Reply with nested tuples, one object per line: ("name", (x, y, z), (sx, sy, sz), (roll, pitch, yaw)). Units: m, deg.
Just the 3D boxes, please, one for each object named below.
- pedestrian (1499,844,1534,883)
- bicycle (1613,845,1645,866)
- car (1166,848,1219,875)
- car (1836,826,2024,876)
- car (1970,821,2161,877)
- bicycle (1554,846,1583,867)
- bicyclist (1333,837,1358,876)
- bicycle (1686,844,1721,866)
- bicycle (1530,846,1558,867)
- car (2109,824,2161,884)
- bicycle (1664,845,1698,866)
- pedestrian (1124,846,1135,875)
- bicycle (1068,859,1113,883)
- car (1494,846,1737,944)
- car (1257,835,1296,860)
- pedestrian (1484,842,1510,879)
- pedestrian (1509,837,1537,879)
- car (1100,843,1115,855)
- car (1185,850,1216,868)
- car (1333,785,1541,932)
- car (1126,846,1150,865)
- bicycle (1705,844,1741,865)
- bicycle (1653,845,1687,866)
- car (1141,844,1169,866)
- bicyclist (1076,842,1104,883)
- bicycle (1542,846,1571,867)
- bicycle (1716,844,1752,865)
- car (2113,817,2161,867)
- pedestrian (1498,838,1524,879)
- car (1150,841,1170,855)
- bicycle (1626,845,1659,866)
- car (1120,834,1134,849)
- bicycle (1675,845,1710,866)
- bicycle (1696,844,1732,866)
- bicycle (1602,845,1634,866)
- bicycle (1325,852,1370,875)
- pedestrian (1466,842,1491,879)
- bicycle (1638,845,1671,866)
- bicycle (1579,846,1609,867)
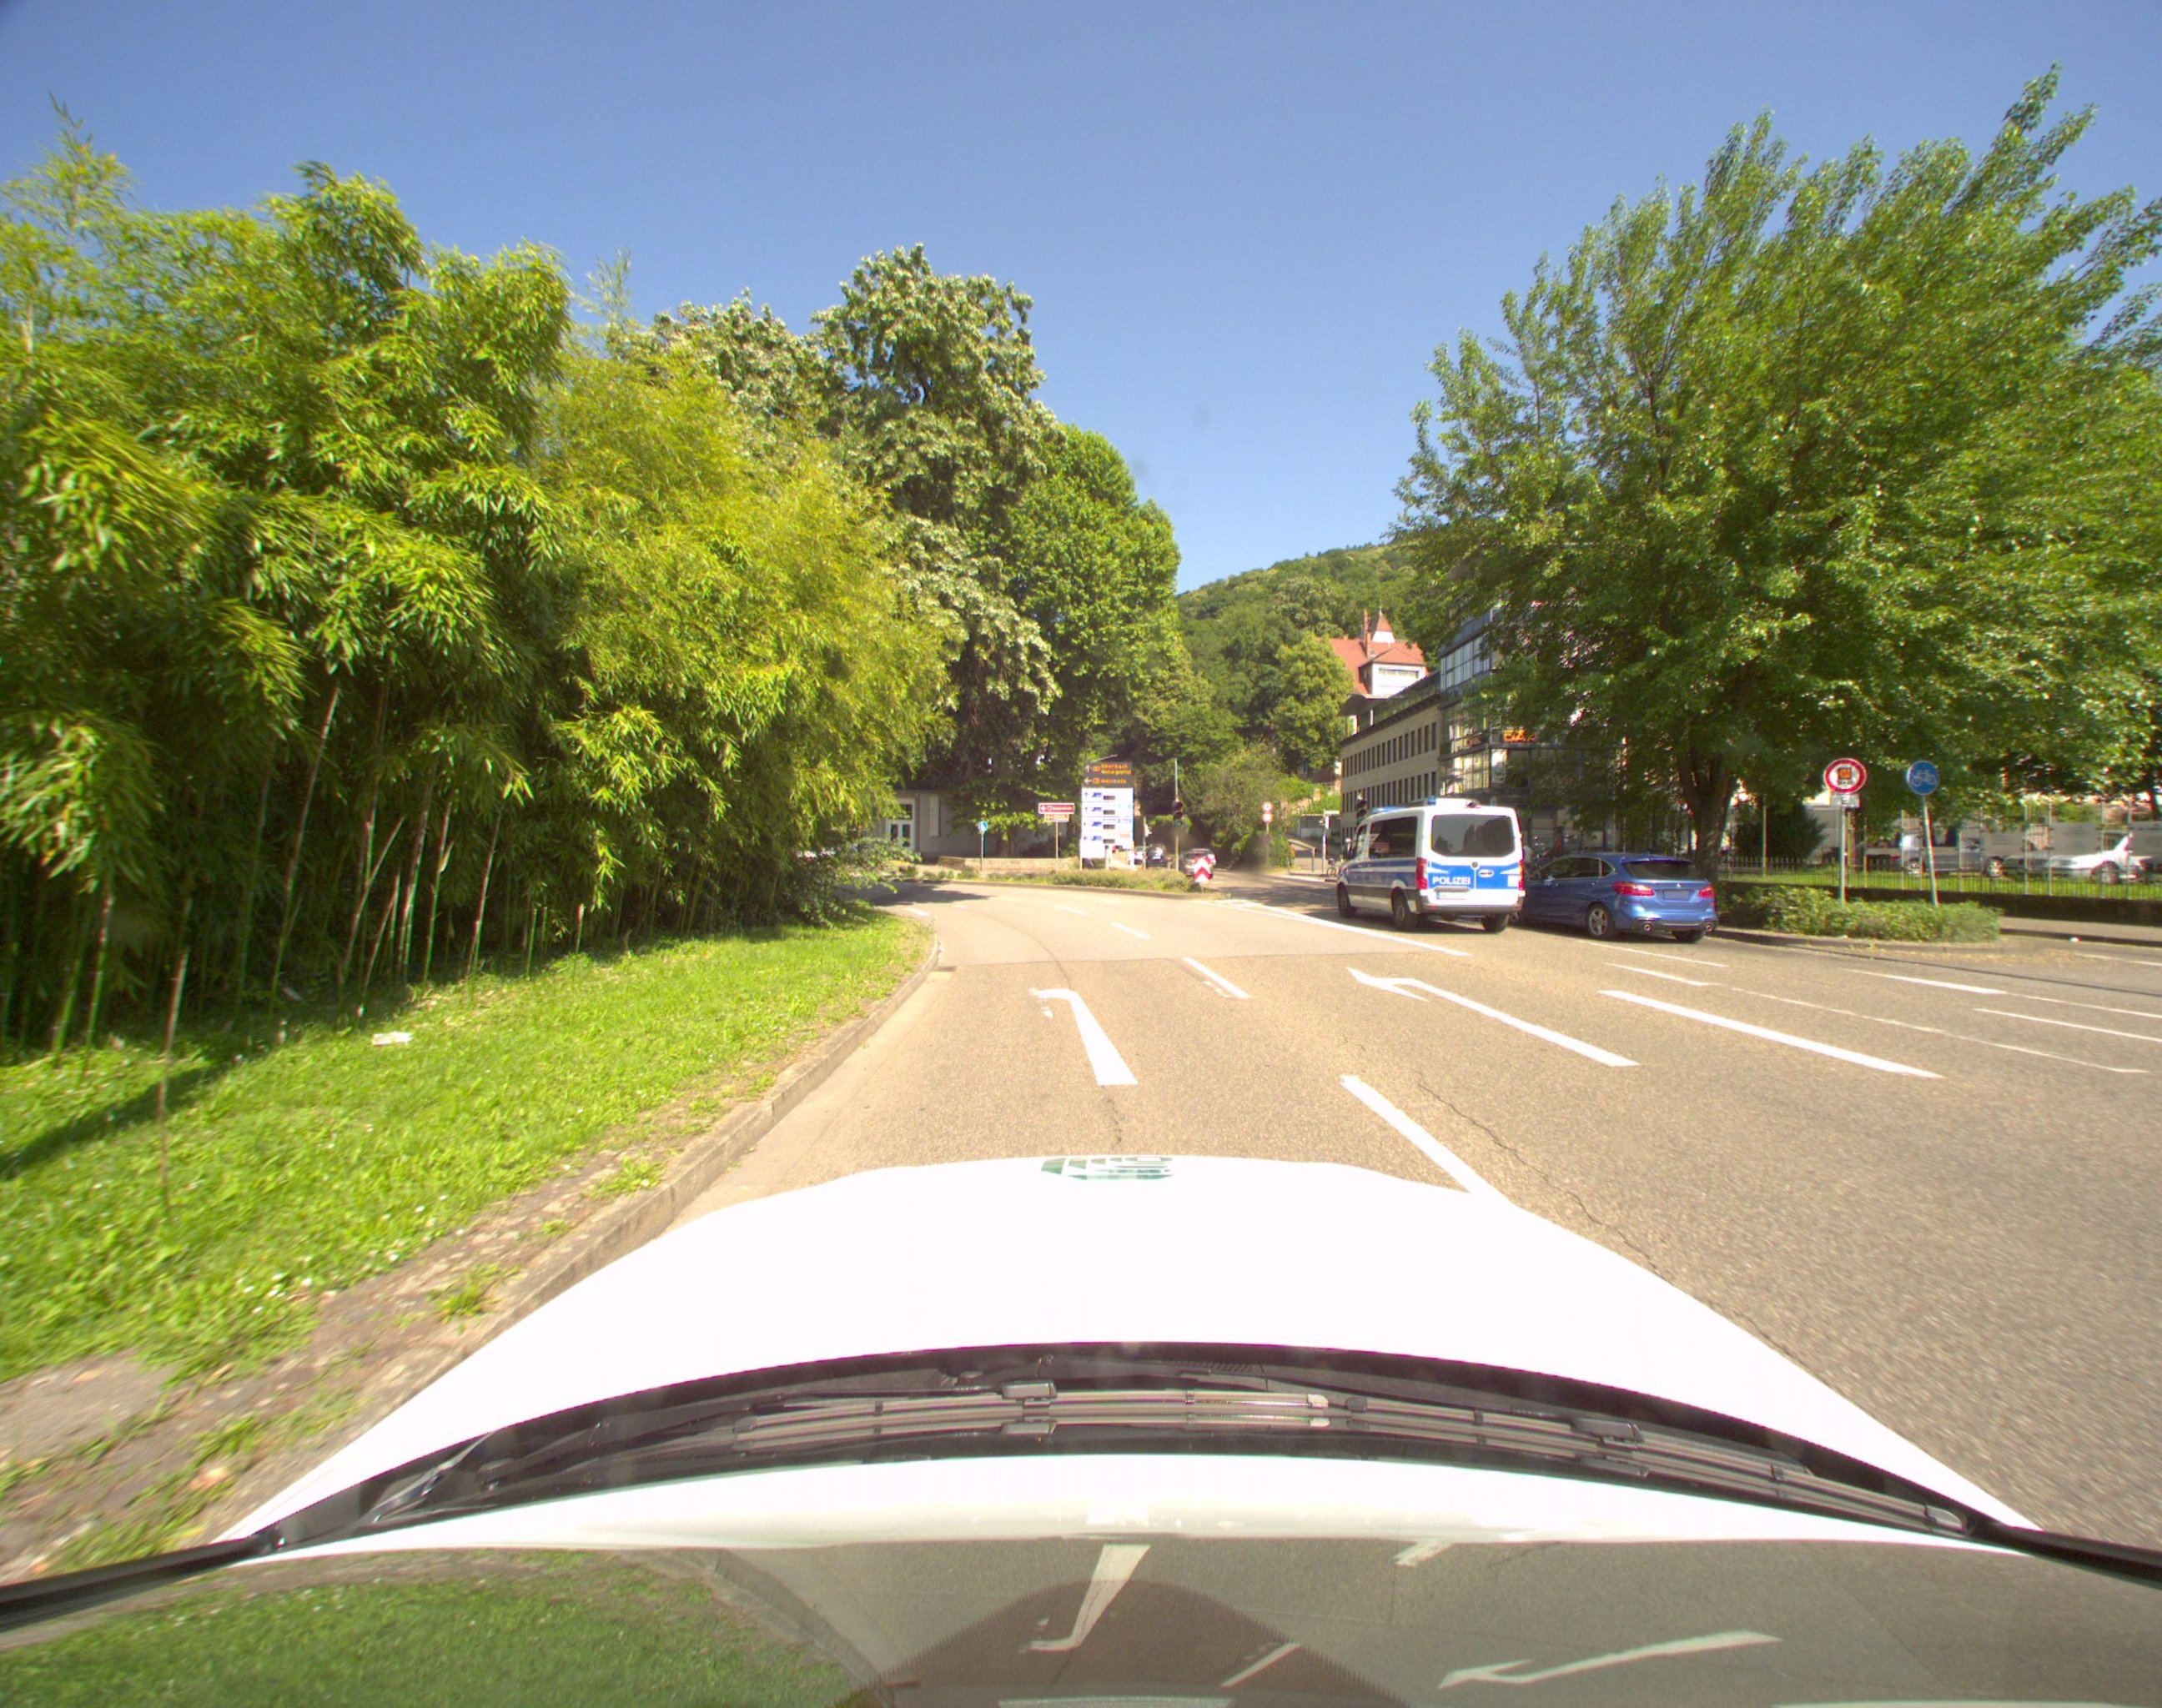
("pedestrian", (17.970, 0.388, 33.628), (1.111, 1.580, 0.744), (-1, 0, 14))
("bicycle", (28.924, 0.083, 43.040), (0.535, 1.085, 1.837), (-1, 1, 3))
("car", (5.817, 0.381, 42.803), (1.755, 1.334, 3.790), (0, 1, -9))
("car", (26.494, -0.108, 25.503), (4.134, 1.475, 1.875), (0, 0, -4))
("car", (25.785, -0.136, 20.734), (4.453, 1.336, 1.821), (0, 0, -1))
("bicycle", (25.815, 0.116, 43.185), (0.535, 1.085, 1.837), (-1, 1, 3))
("bicyclist", (13.164, 0.109, 40.511), (1.118, 1.932, 0.751), (0, 0, 14))
("bicycle", (32.598, 0.044, 42.683), (0.535, 1.085, 1.837), (-1, 1, 3))
("bicycle", (24.582, 0.129, 43.241), (0.535, 1.085, 1.837), (-1, 1, 3))
("car", (26.057, -0.018, 18.172), (4.073, 1.336, 1.821), (0, 0, -1))
("bicycle", (31.404, 0.057, 42.641), (0.535, 1.085, 1.837), (-1, 1, 3))
("pedestrian", (2.687, 0.349, 44.996), (0.543, 1.621, 0.636), (-1, 1, 10))
("bicycle", (0.450, 0.792, 39.310), (2.057, 1.112, 0.761), (0, 0, 26))
("car", (9.836, 0.653, 15.465), (1.714, 1.541, 4.269), (1, 1, -2))
("car", (13.970, -0.444, 58.379), (1.924, 1.697, 4.001), (-1, 0, 1))
("pedestrian", (18.868, 0.284, 36.980), (0.768, 1.662, 0.830), (0, 0, 3))
("pedestrian", (19.644, 0.182, 36.201), (0.768, 1.854, 0.830), (0, 0, 1))
("car", (3.343, -0.672, 103.212), (1.750, 1.461, 3.495), (0, 1, 1))
("car", (8.374, 0.348, 57.173), (1.750, 1.213, 3.495), (0, 1, 1))
("car", (6.907, 0.070, 16.516), (2.067, 2.508, 4.928), (0, 0, 0))
("car", (4.634, 0.095, 66.859), (1.750, 1.461, 3.647), (0, 1, 1))
("bicycle", (33.815, 0.031, 42.912), (0.535, 1.085, 1.837), (-1, 1, 3))
("bicycle", (30.799, 0.064, 42.593), (0.535, 1.085, 1.837), (-1, 1, 3))
("car", (5.147, 0.041, 57.056), (1.750, 1.461, 3.495), (0, 1, 1))
("bicyclist", (0.451, 0.389, 39.316), (1.115, 1.932, 0.752), (0, 0, 26))
("bicycle", (25.222, 0.122, 43.204), (0.535, 1.085, 1.837), (-1, 1, 3))
("bicycle", (34.416, 0.024, 42.956), (0.535, 1.085, 1.837), (-1, 1, 3))
("car", (36.561, -0.406, 26.293), (4.295, 1.603, 1.821), (0, 0, -1))
("pedestrian", (19.559, 0.192, 37.035), (0.768, 1.854, 0.830), (0, 0, 2))
("car", (7.981, -0.626, 82.836), (1.750, 1.461, 3.647), (0, 1, 1))
("bicycle", (29.495, 0.077, 42.826), (0.535, 1.085, 1.837), (-1, 1, 3))
("car", (6.202, -1.640, 109.158), (1.750, 1.938, 3.495), (0, 1, 1))
("bicycle", (31.997, 0.051, 42.655), (0.535, 1.085, 1.837), (-1, 1, 3))
("bicycle", (33.214, 0.038, 42.735), (0.535, 1.085, 1.837), (-1, 1, 3))
("bicycle", (28.344, 0.089, 43.016), (0.535, 1.085, 1.837), (-1, 1, 3))
("bicycle", (13.240, 0.461, 40.498), (2.062, 1.112, 0.759), (0, 0, 13))
("pedestrian", (18.065, 0.294, 37.034), (0.768, 1.662, 0.830), (0, 0, 2))
("bicycle", (30.139, 0.070, 42.808), (0.535, 1.085, 1.837), (-1, 1, 3))
("bicycle", (27.102, 0.103, 43.030), (0.535, 1.085, 1.837), (-1, 1, 3))
